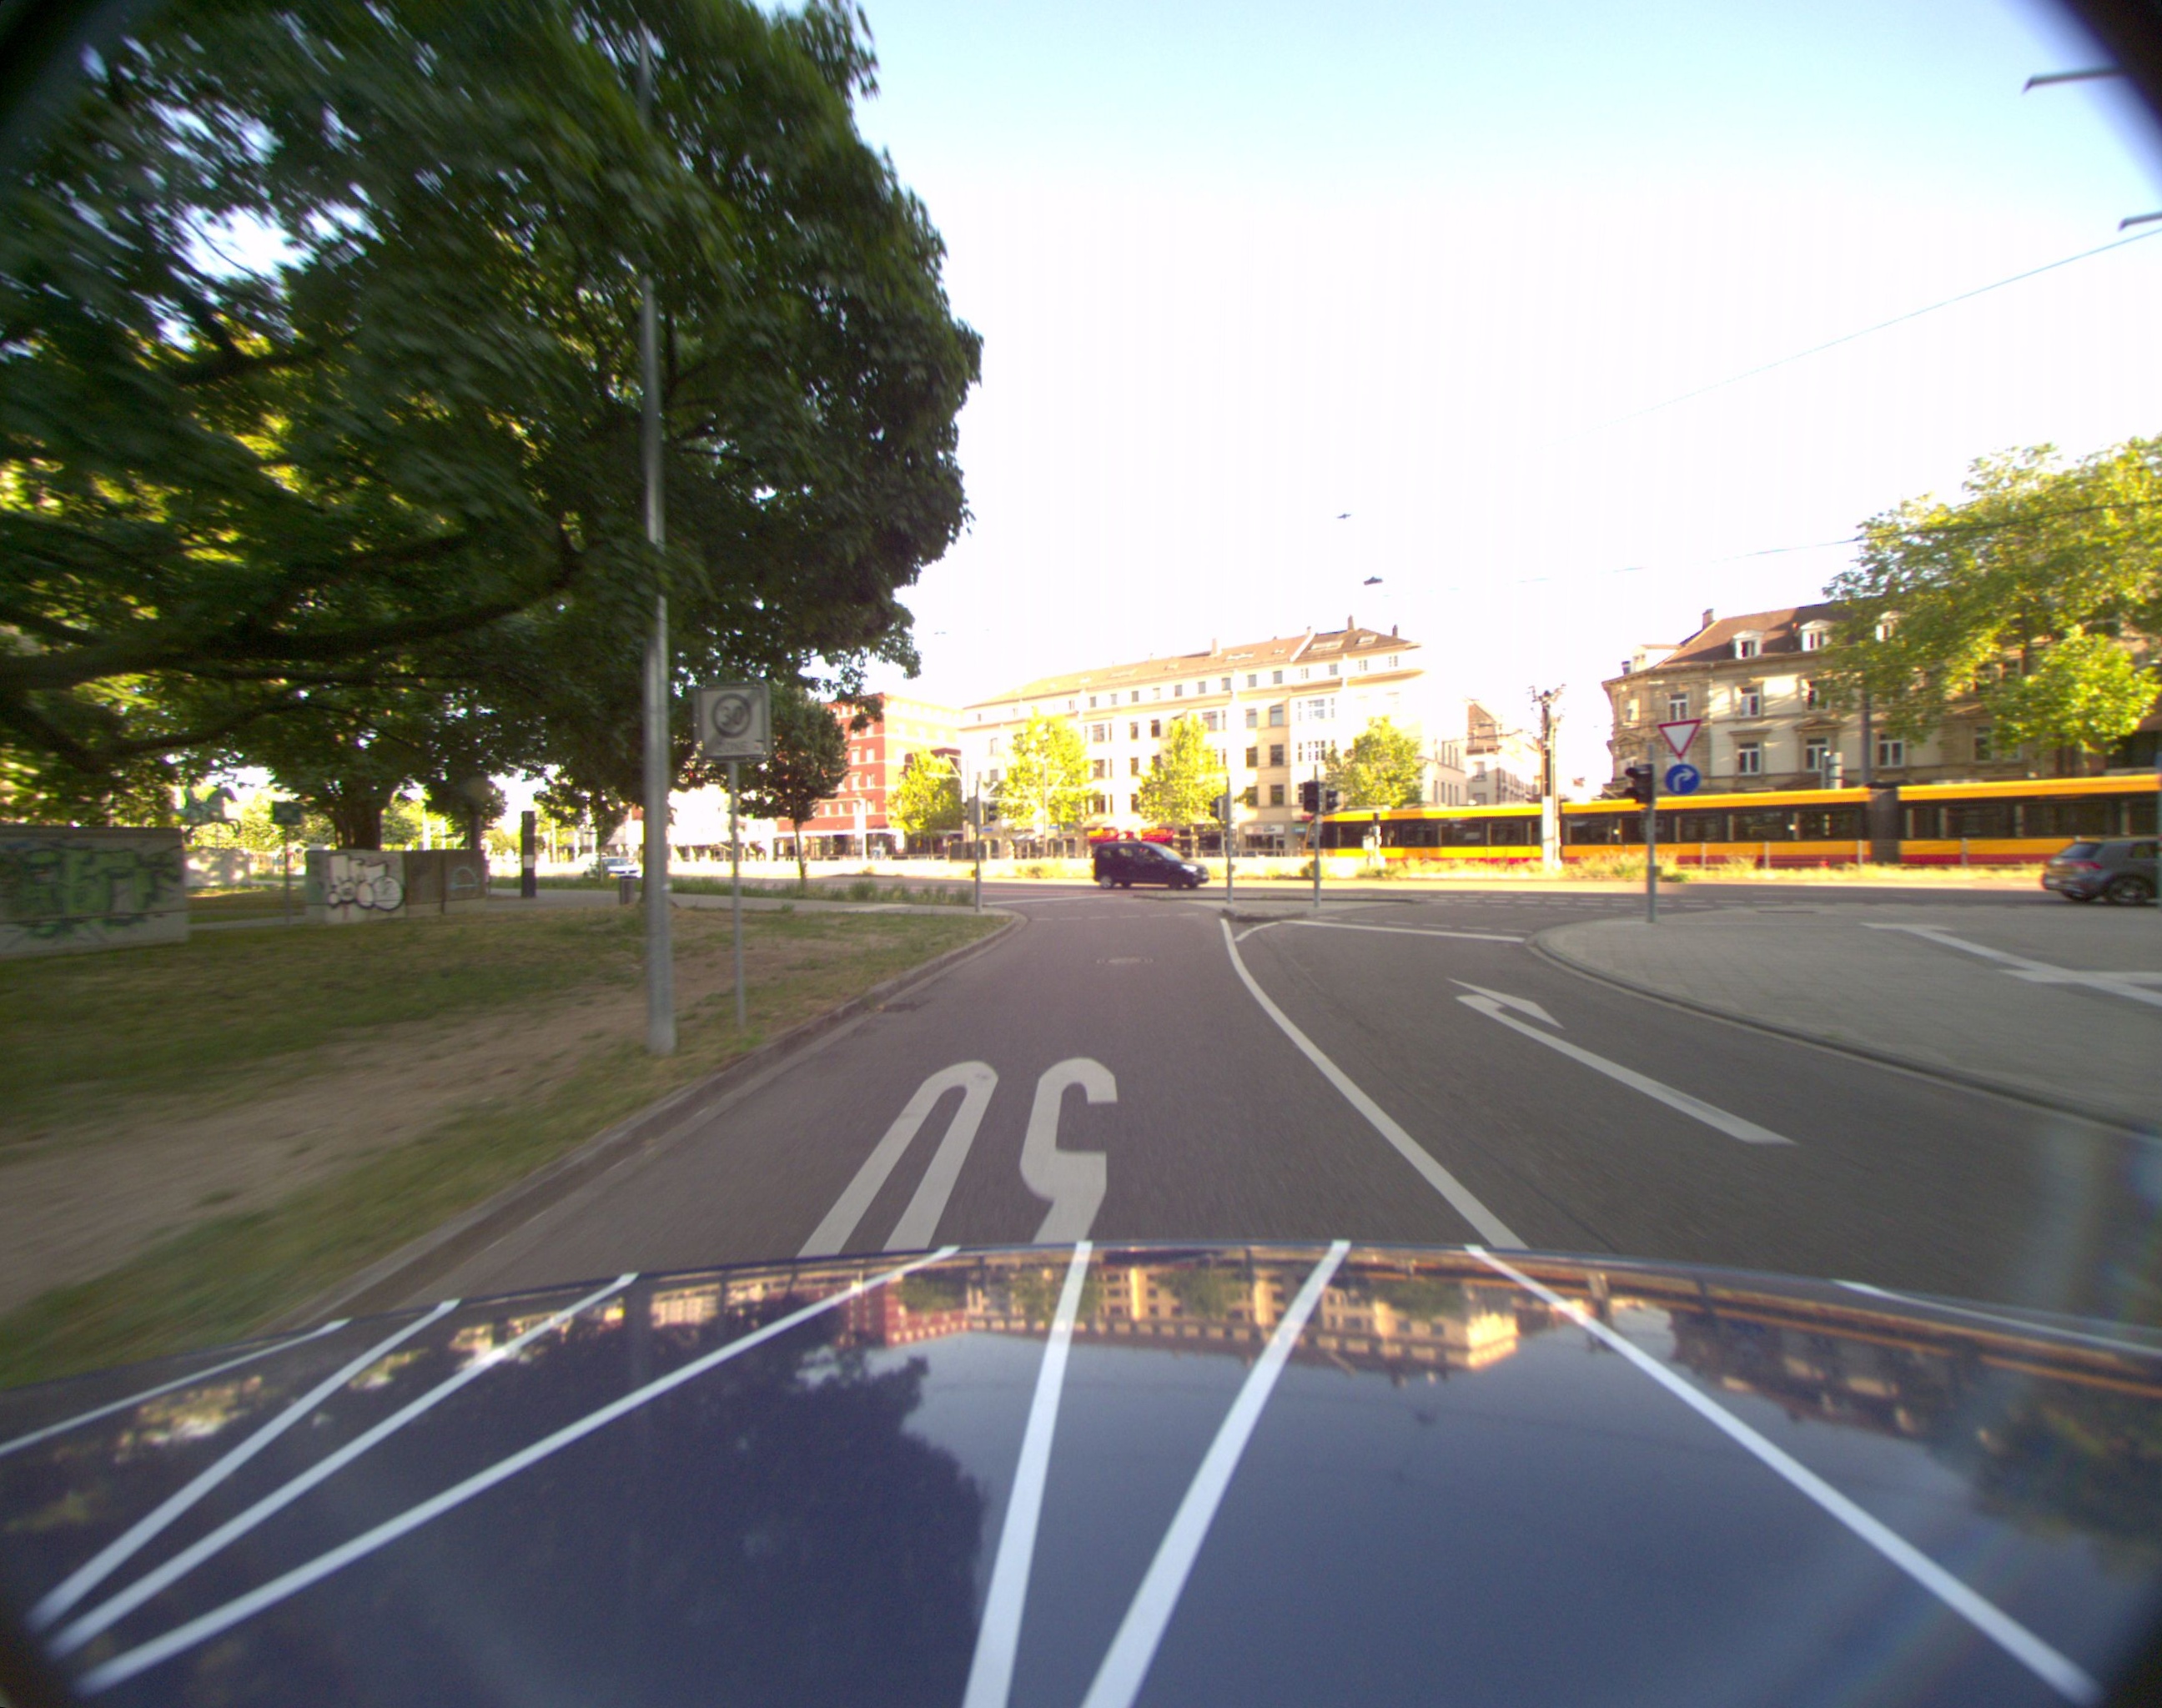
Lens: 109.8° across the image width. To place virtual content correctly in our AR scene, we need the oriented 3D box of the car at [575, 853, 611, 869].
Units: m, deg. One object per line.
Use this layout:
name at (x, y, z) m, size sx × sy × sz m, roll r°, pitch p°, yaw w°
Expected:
car at (-63.674, 0.881, 99.088) m, size 4.761 × 2.002 × 2.004 m, roll 0°, pitch 1°, yaw 32°

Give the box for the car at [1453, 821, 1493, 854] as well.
car at (29.029, -1.170, 56.110) m, size 2.464 × 2.253 × 7.304 m, roll 0°, pitch 1°, yaw 28°

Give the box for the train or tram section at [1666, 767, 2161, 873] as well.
train or tram section at (34.826, -1.158, 28.795) m, size 19.874 × 3.538 × 3.128 m, roll 0°, pitch 1°, yaw 41°

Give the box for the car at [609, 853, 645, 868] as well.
car at (-56.245, 0.840, 94.122) m, size 4.881 × 1.787 × 2.004 m, roll -1°, pitch 1°, yaw 35°

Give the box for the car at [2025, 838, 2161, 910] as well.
car at (23.264, 0.391, 15.792) m, size 4.233 × 1.418 × 1.774 m, roll -1°, pitch 2°, yaw 32°

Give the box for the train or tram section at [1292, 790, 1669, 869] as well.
train or tram section at (20.292, -1.100, 40.497) m, size 17.427 × 3.538 × 3.128 m, roll 0°, pitch 1°, yaw 37°

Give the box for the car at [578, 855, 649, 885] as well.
car at (-26.647, 0.895, 43.273) m, size 4.266 × 1.529 × 1.838 m, roll 0°, pitch 3°, yaw 35°

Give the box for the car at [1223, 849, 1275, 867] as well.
car at (13.266, 0.312, 59.898) m, size 3.699 × 1.325 × 1.461 m, roll 0°, pitch 4°, yaw 34°

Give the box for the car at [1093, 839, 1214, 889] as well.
car at (2.677, 0.344, 28.370) m, size 4.136 × 1.722 × 1.774 m, roll 0°, pitch 1°, yaw 32°

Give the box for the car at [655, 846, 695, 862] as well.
car at (-46.704, 0.041, 87.439) m, size 4.965 × 1.808 × 2.004 m, roll -1°, pitch 1°, yaw 35°
